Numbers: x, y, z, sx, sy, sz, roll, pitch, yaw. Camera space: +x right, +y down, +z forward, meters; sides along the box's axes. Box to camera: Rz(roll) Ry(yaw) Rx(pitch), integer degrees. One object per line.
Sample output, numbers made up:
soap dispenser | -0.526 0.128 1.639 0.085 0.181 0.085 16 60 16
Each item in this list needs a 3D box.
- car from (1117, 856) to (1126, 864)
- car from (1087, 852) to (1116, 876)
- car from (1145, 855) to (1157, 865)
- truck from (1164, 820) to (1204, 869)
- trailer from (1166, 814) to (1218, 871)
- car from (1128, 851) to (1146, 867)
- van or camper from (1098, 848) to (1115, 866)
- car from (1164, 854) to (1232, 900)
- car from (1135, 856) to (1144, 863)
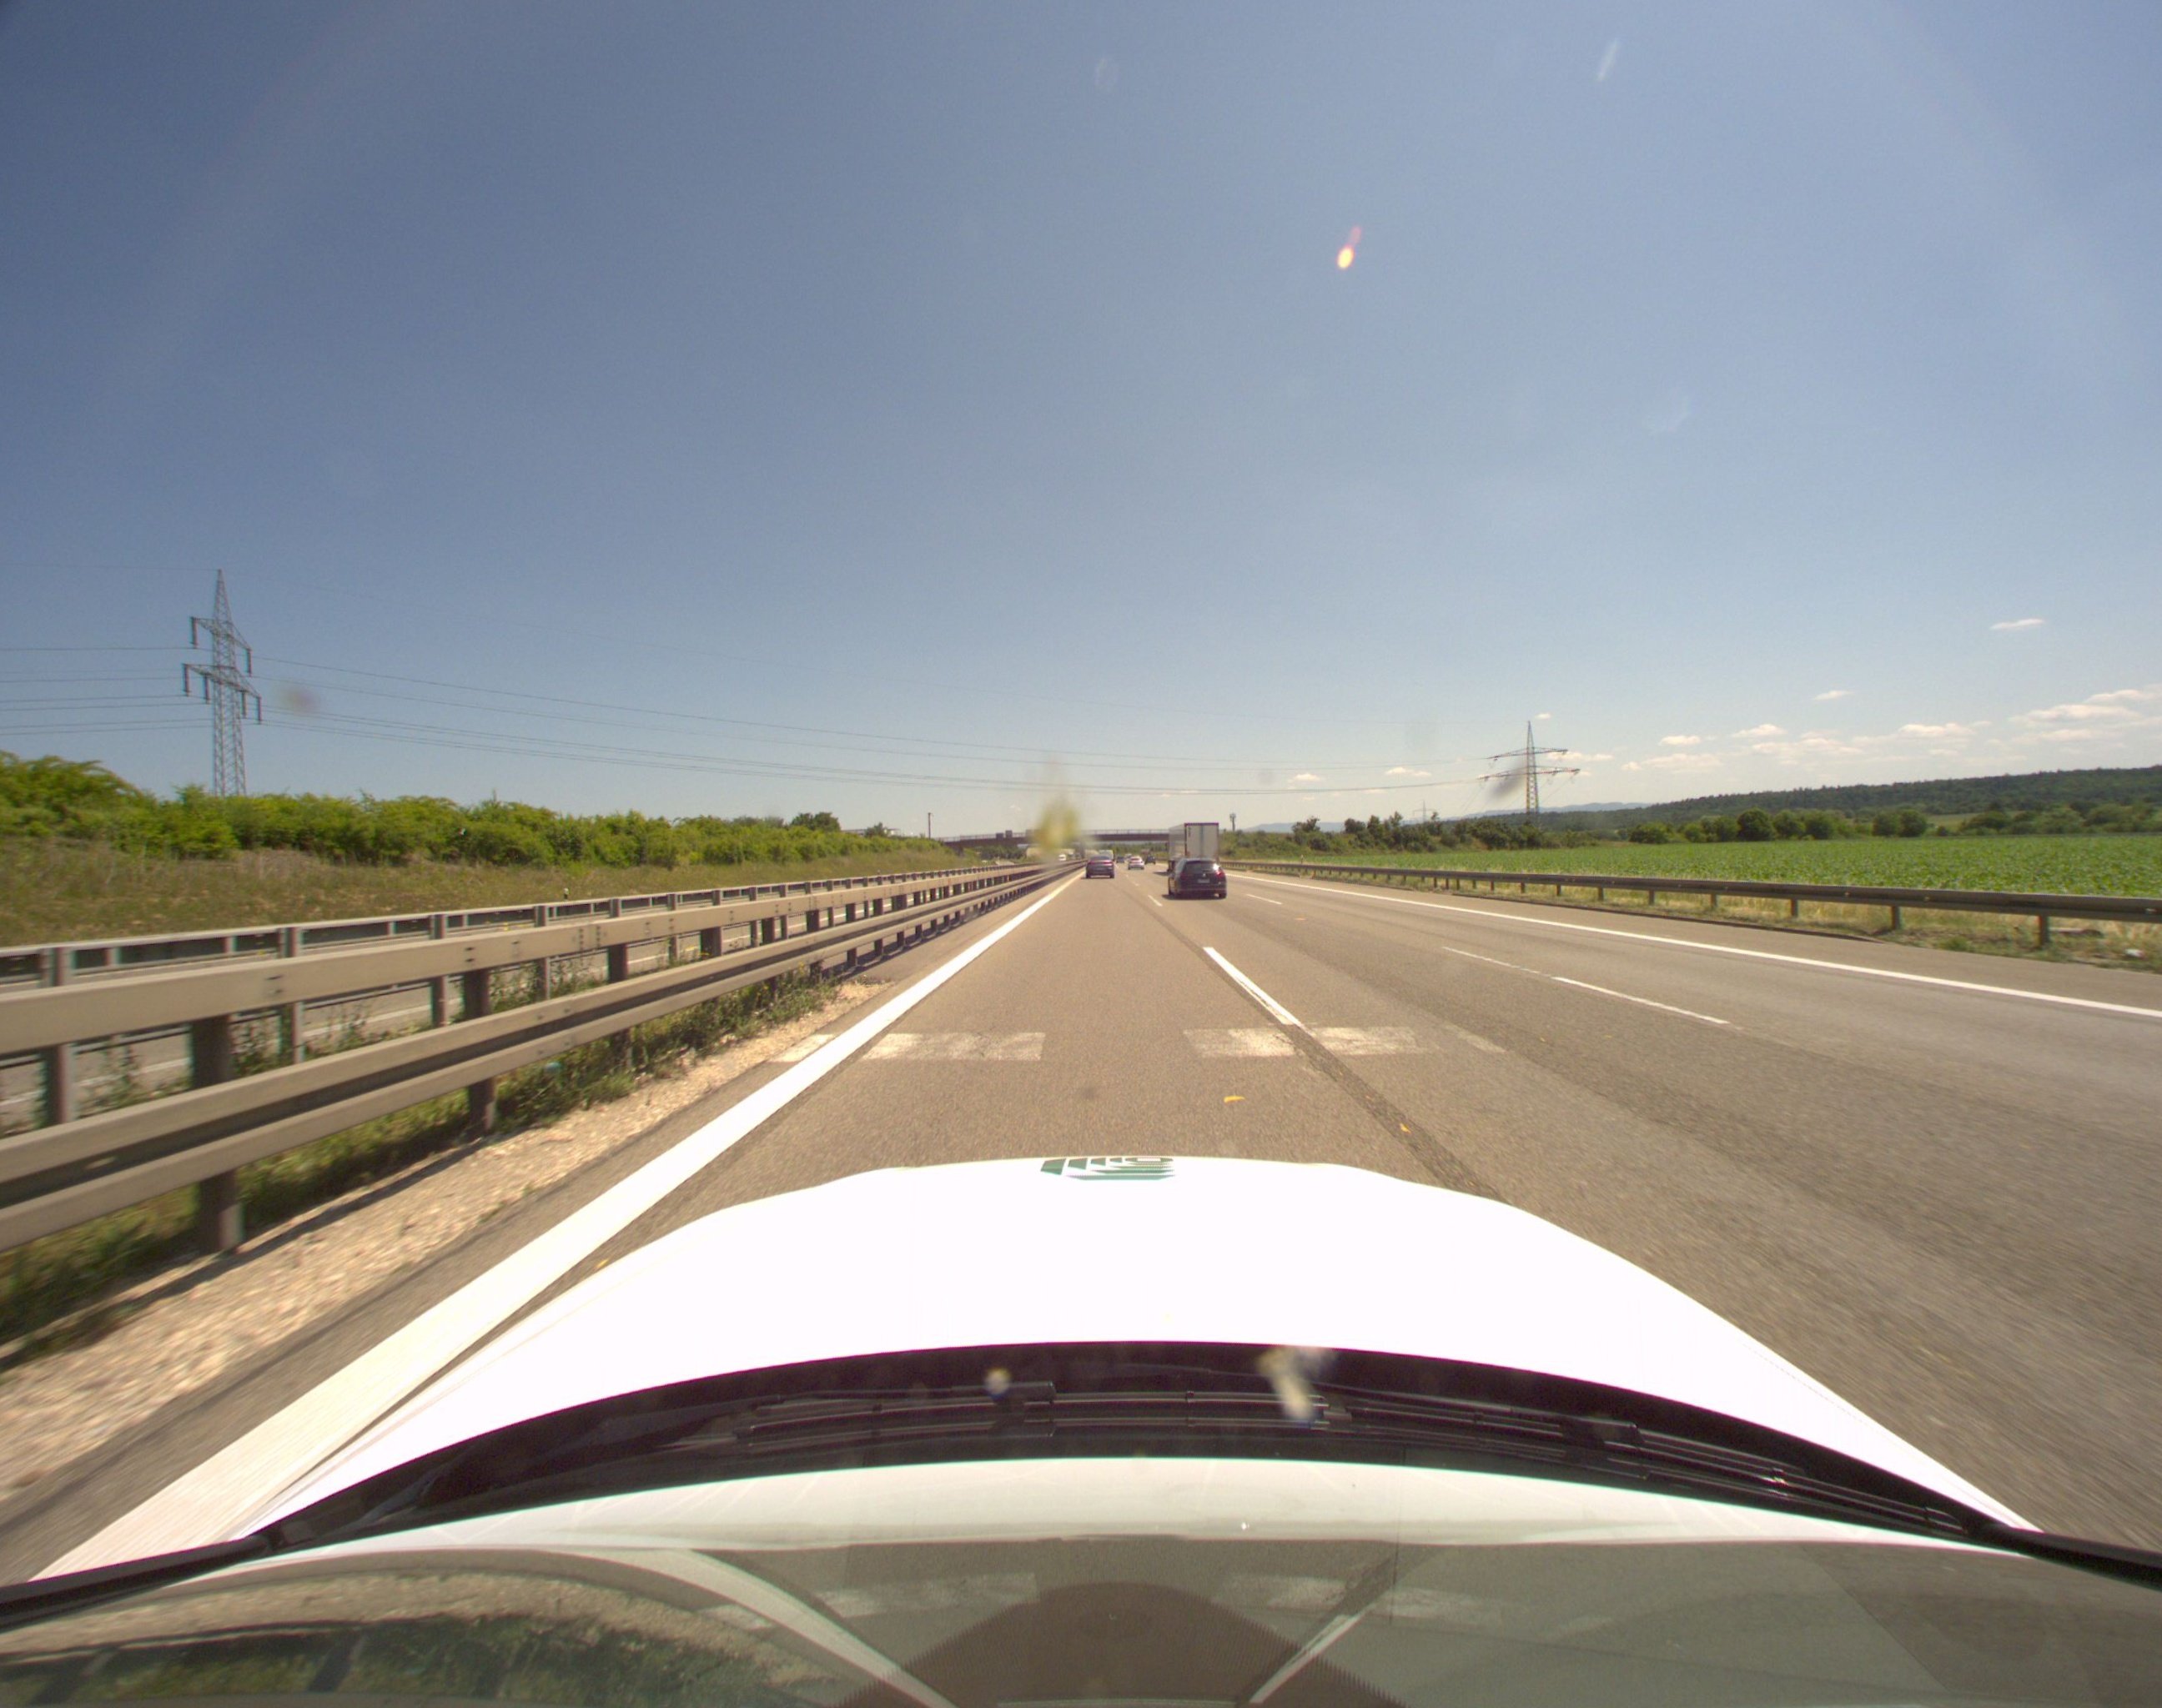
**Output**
car | 8.901 1.324 180.092 1.986 1.683 4.002 0 0 2
car | 1.412 0.692 57.350 1.846 1.664 3.733 0 0 -1
car | 12.454 1.097 145.644 1.986 1.683 4.002 0 0 2
truck | 9.302 -0.803 74.349 2.968 4.228 7.690 0 0 2
trailer | 9.052 -0.827 67.761 2.932 4.198 13.602 0 0 2
car | 6.347 0.569 92.688 1.986 1.683 4.002 0 0 2
van or camper | 3.356 0.361 105.623 2.102 2.211 5.268 0 0 2
car | 4.202 0.796 30.071 1.926 1.574 4.936 0 0 1
car | 14.199 1.352 197.895 1.986 1.683 4.002 0 0 2
